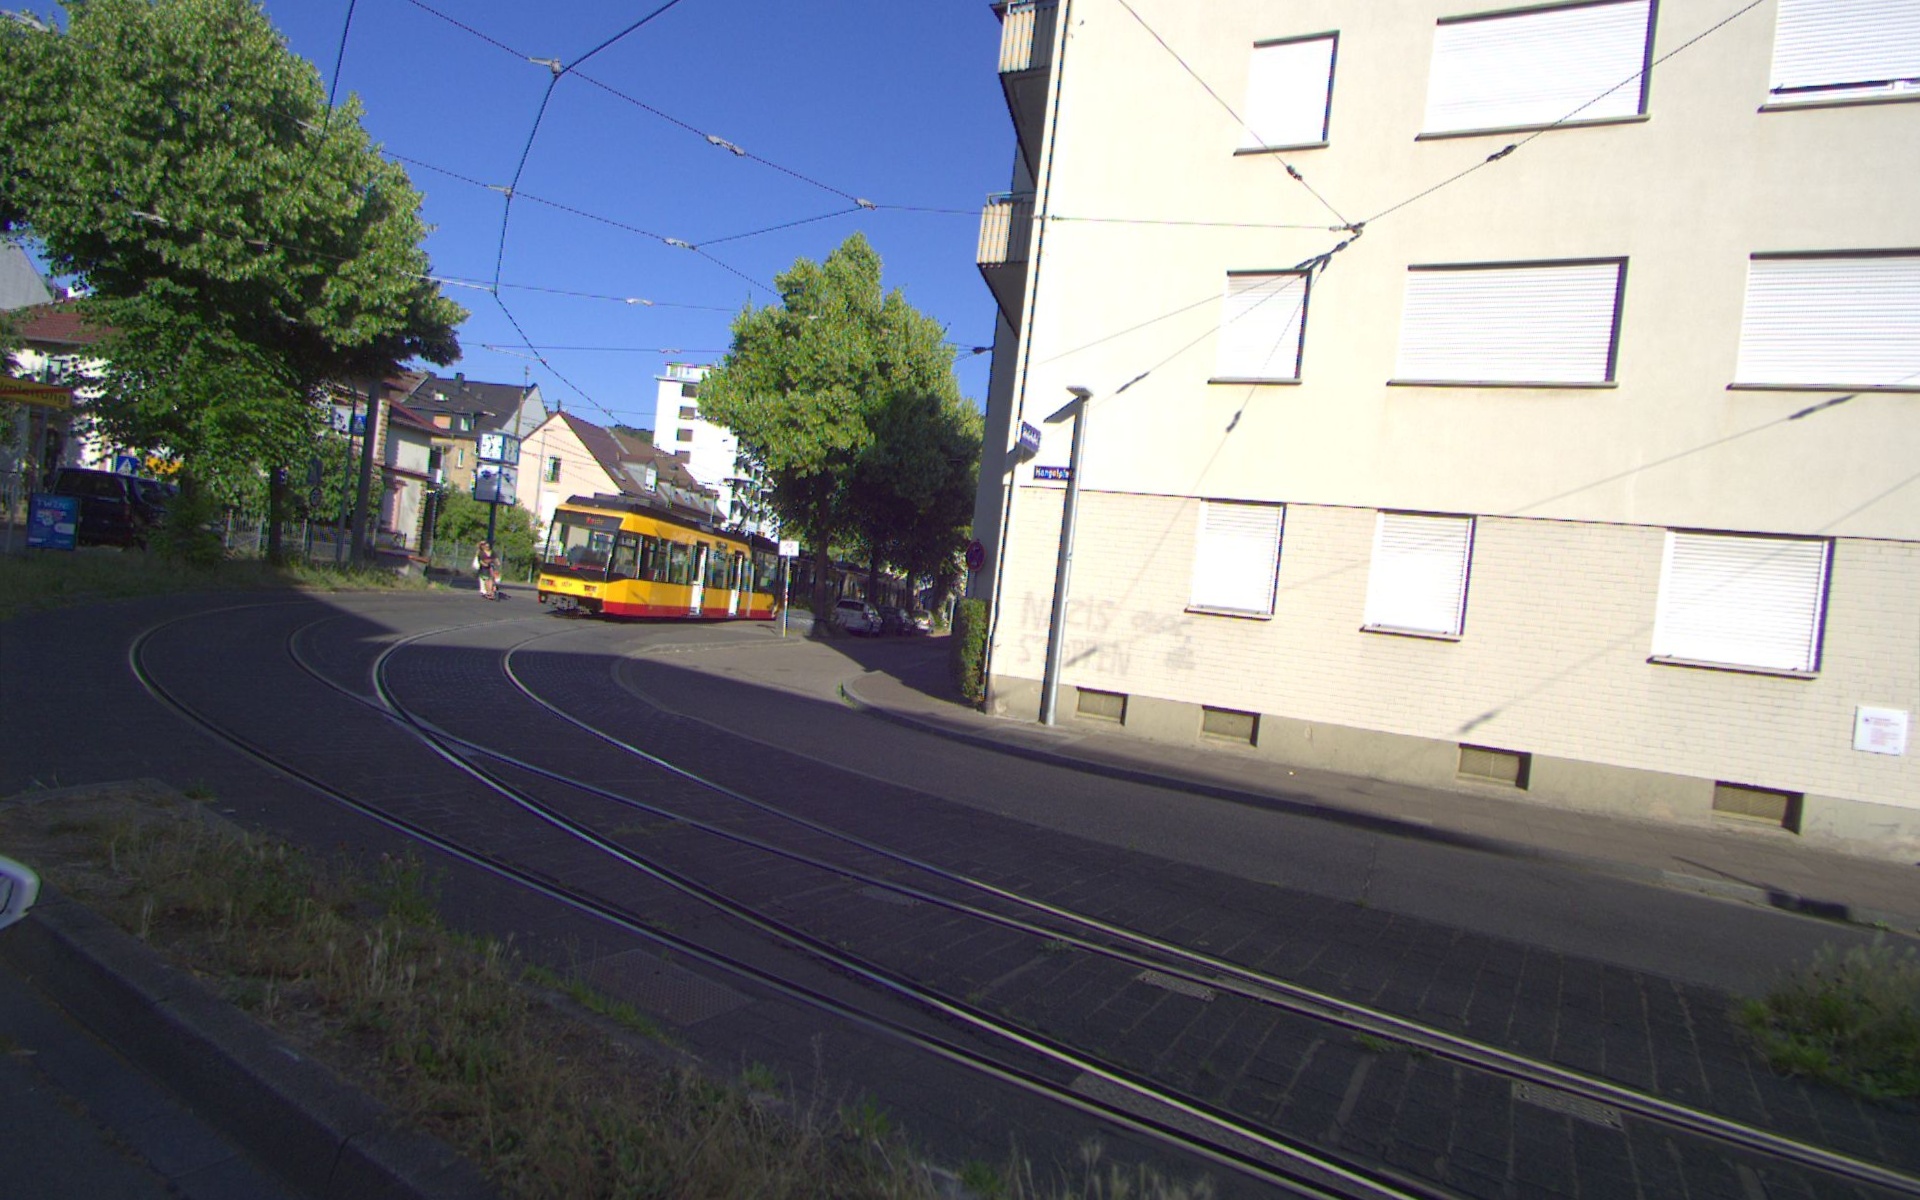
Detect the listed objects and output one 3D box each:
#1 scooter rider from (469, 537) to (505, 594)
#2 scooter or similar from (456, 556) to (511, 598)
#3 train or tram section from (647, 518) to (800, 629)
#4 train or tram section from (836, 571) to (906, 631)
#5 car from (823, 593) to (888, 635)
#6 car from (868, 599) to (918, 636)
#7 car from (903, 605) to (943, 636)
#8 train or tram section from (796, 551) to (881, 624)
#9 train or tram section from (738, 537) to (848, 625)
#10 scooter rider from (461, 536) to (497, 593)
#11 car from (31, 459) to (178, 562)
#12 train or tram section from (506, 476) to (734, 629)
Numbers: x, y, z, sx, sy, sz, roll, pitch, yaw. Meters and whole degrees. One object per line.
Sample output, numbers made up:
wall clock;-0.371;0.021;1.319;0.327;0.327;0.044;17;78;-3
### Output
scooter rider;-15.000;-1.087;31.909;0.596;1.693;0.655;7;1;17
scooter or similar;-15.124;-0.731;31.934;1.380;1.151;0.685;7;1;15
train or tram section;-9.200;-0.809;40.706;2.732;3.598;9.926;7;-1;5
train or tram section;-6.067;0.226;70.297;2.732;3.598;9.927;7;-1;5
car;-4.383;0.639;42.662;1.657;1.458;4.003;7;-1;8
car;-3.417;0.928;51.613;1.699;1.547;3.799;7;-2;7
car;-2.222;1.291;61.611;1.699;1.547;3.799;7;-2;7
train or tram section;-7.084;-0.571;60.408;2.732;3.598;9.926;7;-1;5
train or tram section;-8.121;-0.739;50.556;2.732;3.598;9.926;7;-1;5
scooter rider;-15.305;-1.131;32.008;0.596;1.693;0.655;7;1;17
car;-21.001;-2.132;24.887;1.981;2.037;3.967;8;-1;-32
train or tram section;-9.861;-1.083;30.810;2.732;3.598;9.925;7;-1;4
